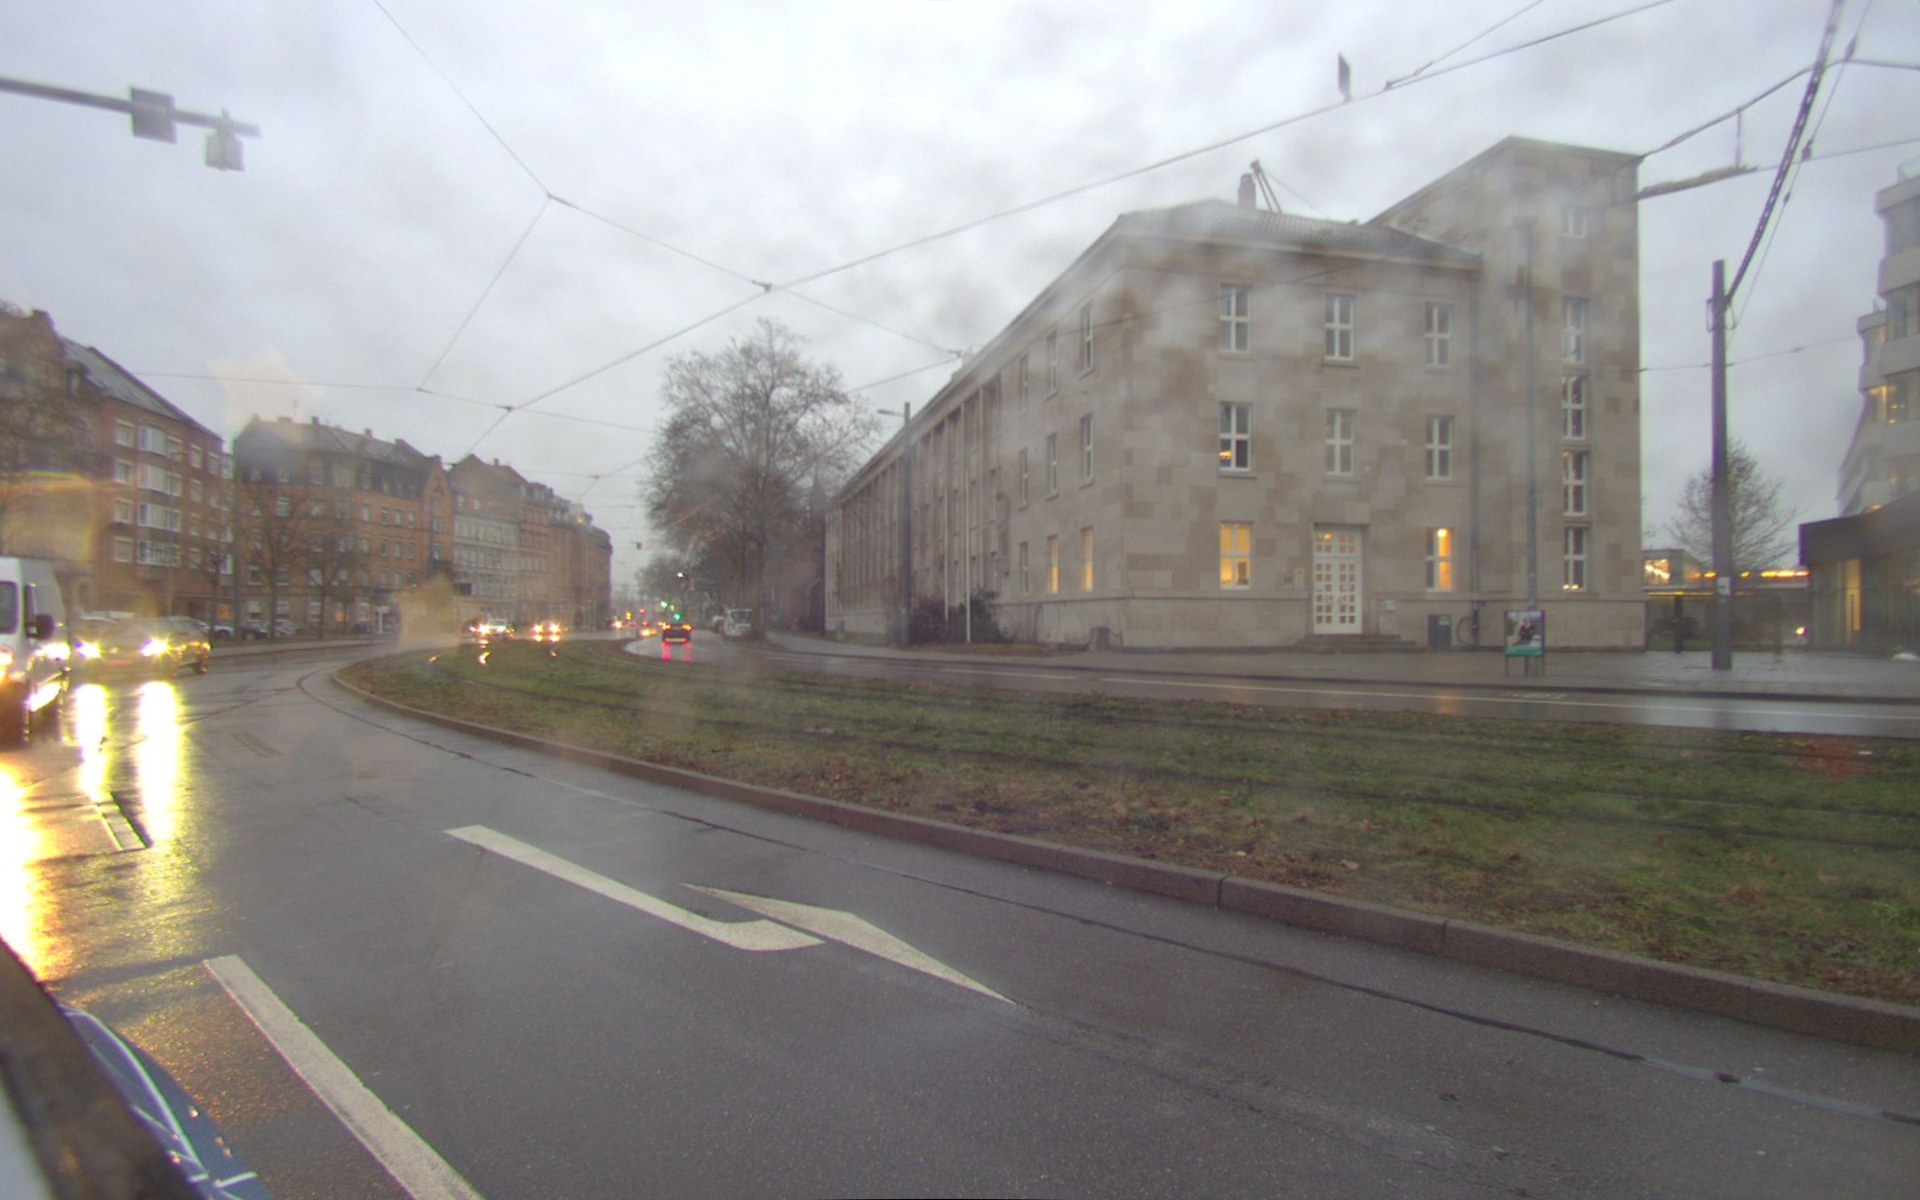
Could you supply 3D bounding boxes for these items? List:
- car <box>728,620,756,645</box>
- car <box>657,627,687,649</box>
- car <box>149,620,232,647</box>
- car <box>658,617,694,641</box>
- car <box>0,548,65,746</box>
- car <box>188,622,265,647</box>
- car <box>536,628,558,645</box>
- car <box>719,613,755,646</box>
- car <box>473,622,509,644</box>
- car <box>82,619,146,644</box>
[{"bbox_3d":[-13.334,1.955,61.838,1.535,1.439,2.963,0,0,-14],"label":"car"},{"bbox_3d":[-22.741,2.988,80.128,1.797,1.446,4.666,-2,0,-11],"label":"car"},{"bbox_3d":[-43.903,1.875,57.813,3.706,1.364,1.605,-2,0,-39],"label":"car"},{"bbox_3d":[-18.150,1.814,64.589,1.633,1.411,4.538,-2,0,-22],"label":"car"},{"bbox_3d":[-14.093,0.642,14.017,2.096,2.398,5.650,0,-1,-37],"label":"car"},{"bbox_3d":[-44.666,2.082,61.655,3.706,1.364,1.605,-2,0,-39],"label":"car"},{"bbox_3d":[-38.741,3.414,94.992,1.809,1.497,3.533,0,-2,-22],"label":"car"},{"bbox_3d":[-14.625,1.890,66.210,1.966,2.029,4.522,-2,0,-15],"label":"car"},{"bbox_3d":[-32.310,2.258,69.825,1.865,1.424,3.959,0,-2,-19],"label":"car"},{"bbox_3d":[-53.378,1.979,63.949,1.449,1.555,3.881,0,-2,-12],"label":"car"}]
